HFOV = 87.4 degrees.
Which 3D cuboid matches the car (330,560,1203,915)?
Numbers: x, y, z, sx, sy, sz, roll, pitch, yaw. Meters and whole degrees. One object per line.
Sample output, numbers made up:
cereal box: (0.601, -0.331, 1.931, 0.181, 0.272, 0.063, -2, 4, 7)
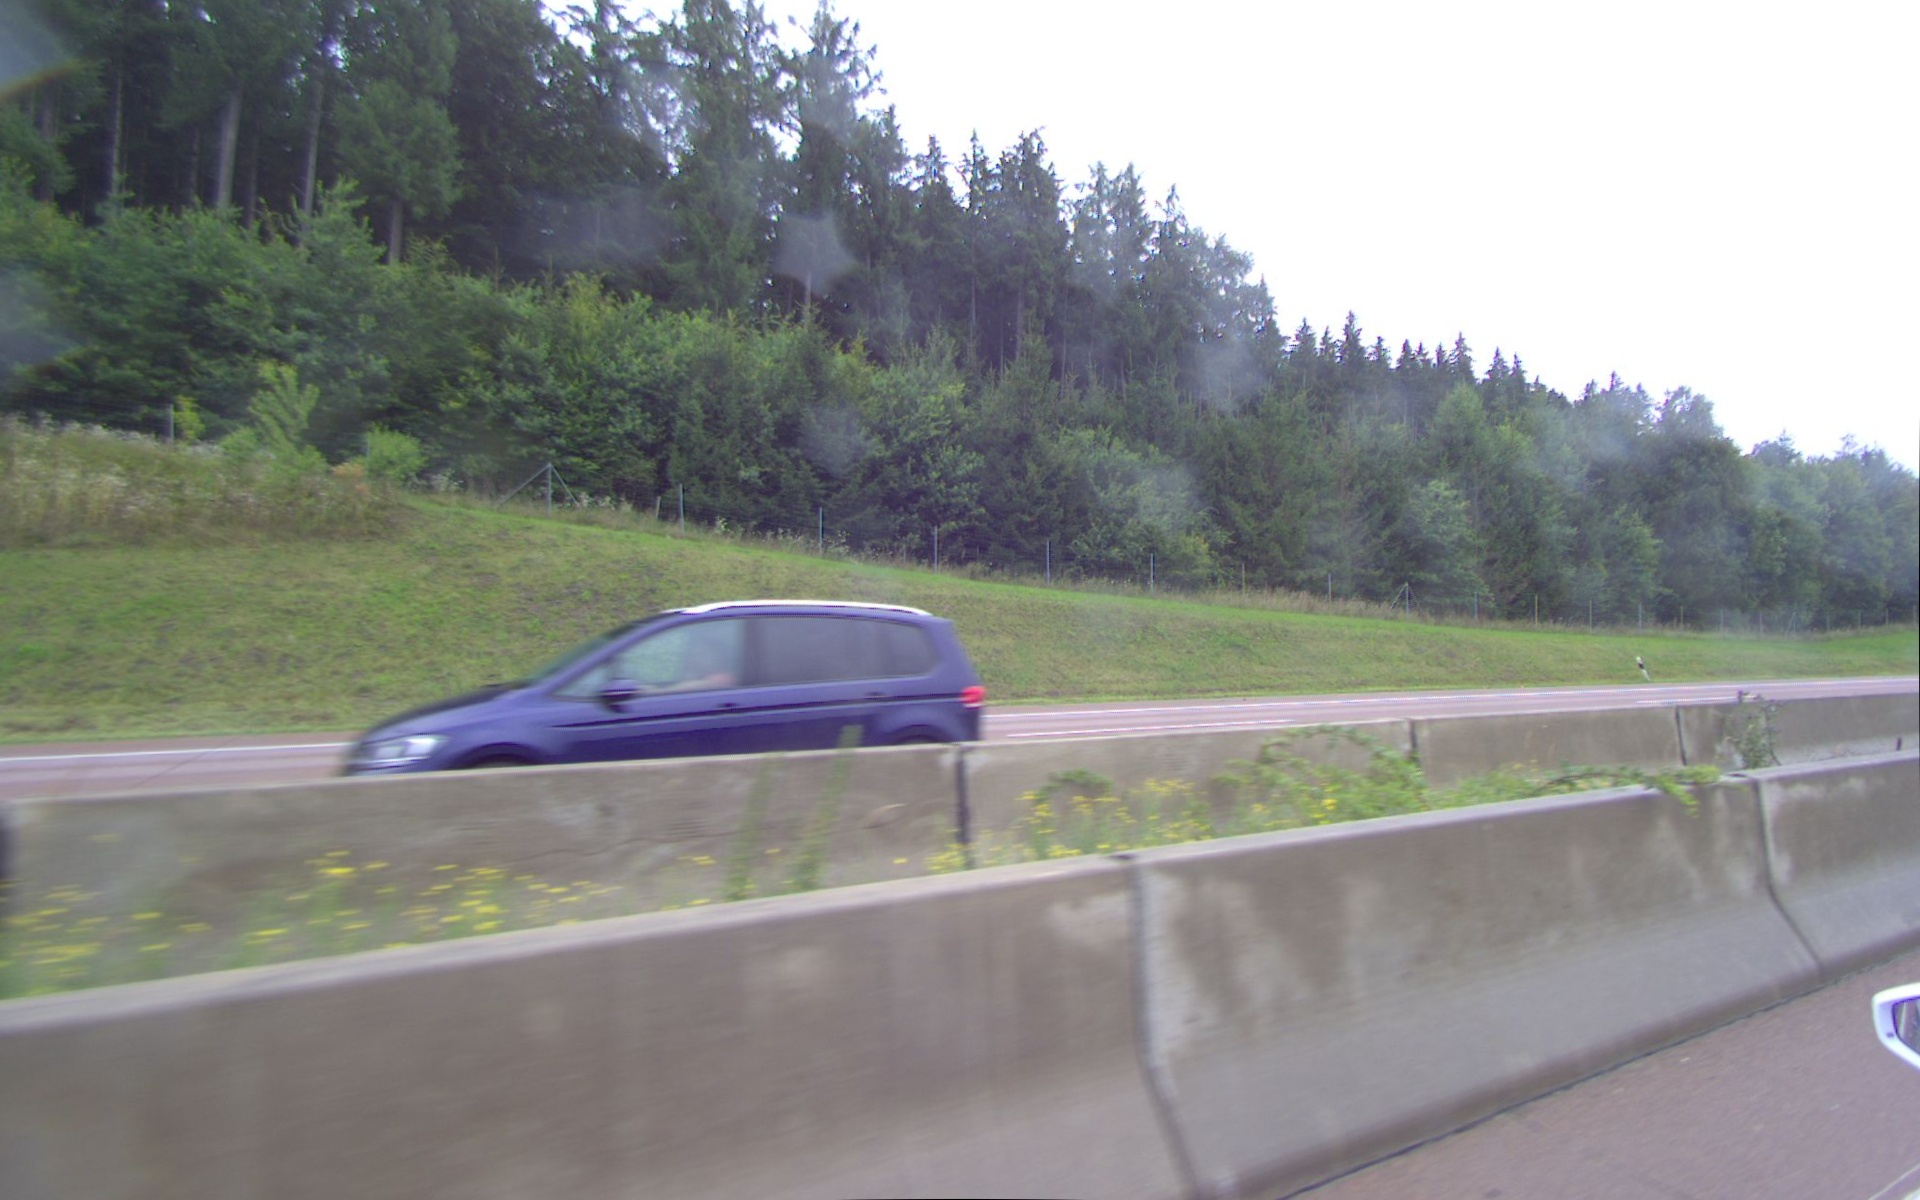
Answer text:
car: (-1.080, 0.836, 7.648, 6.167, 1.866, 1.809, 3, 0, -31)
